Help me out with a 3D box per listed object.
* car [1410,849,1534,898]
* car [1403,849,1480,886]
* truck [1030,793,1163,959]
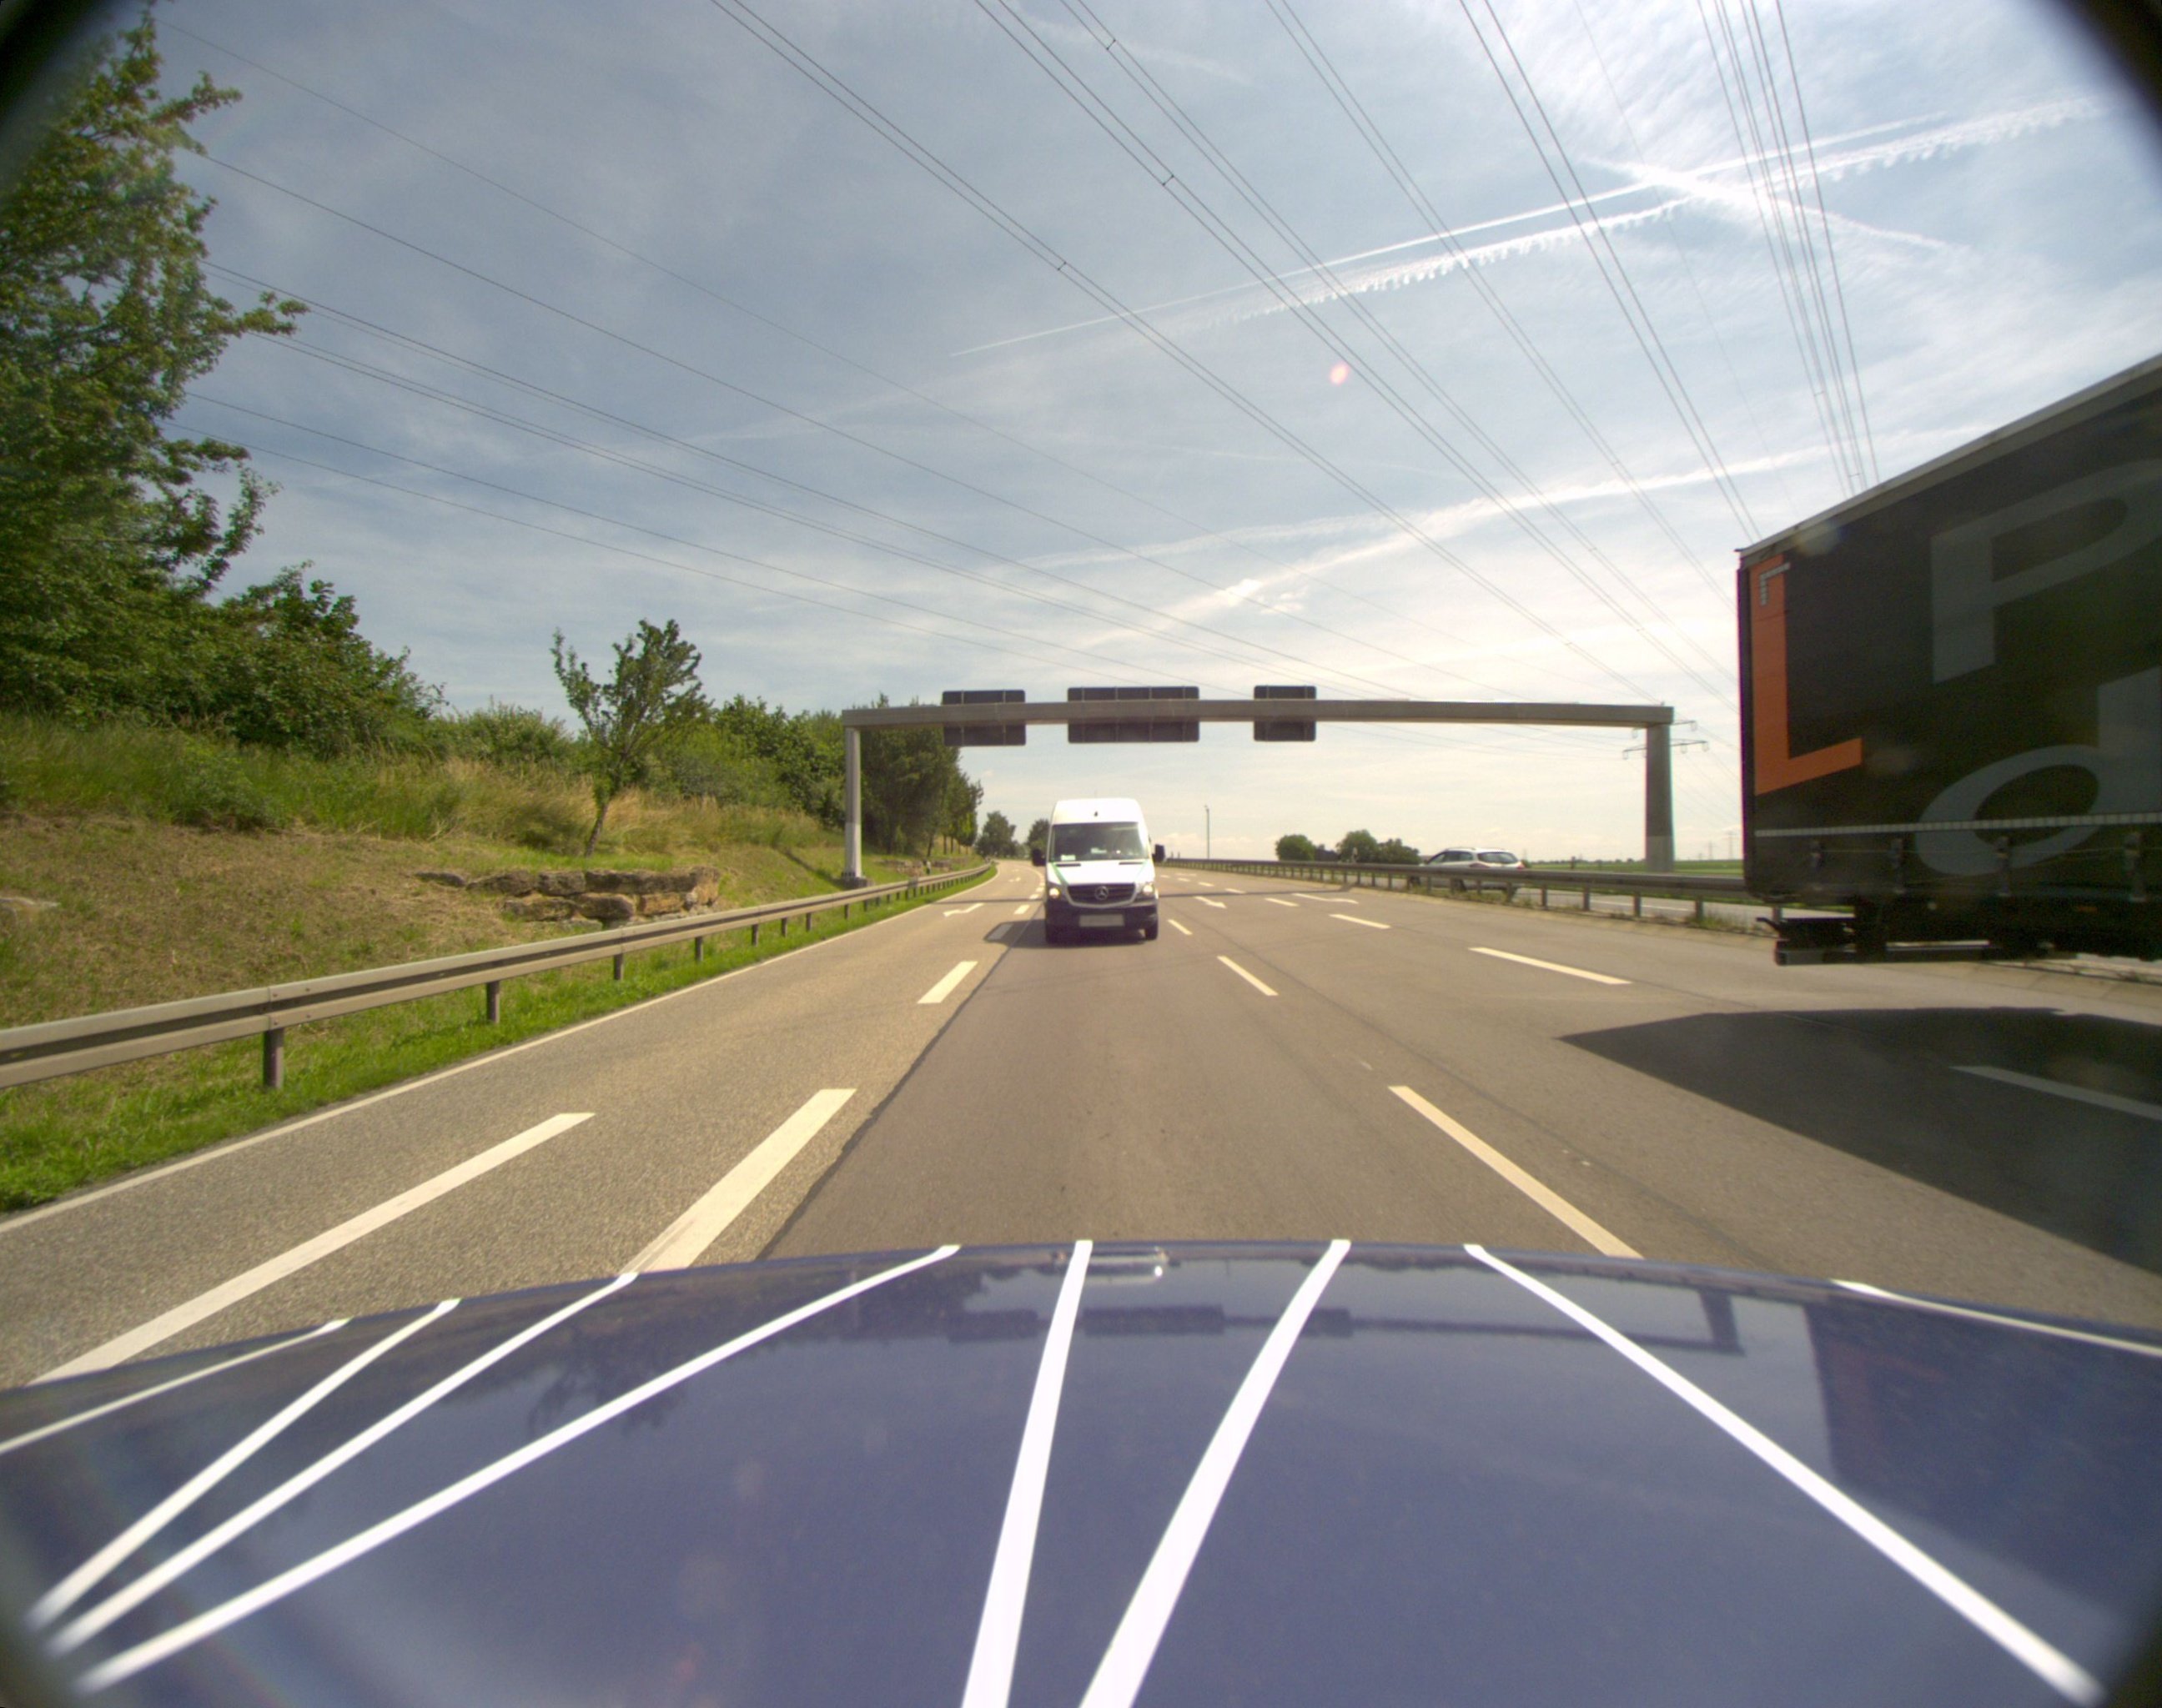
[{"bbox_3d":[12.705,0.573,25.028,1.740,1.434,4.323,1,1,-1],"label":"car"},{"bbox_3d":[15.613,0.550,33.125,1.518,1.472,3.703,1,0,-1],"label":"car"},{"bbox_3d":[0.283,0.319,14.328,1.998,2.518,5.105,-2,1,1],"label":"truck"}]
